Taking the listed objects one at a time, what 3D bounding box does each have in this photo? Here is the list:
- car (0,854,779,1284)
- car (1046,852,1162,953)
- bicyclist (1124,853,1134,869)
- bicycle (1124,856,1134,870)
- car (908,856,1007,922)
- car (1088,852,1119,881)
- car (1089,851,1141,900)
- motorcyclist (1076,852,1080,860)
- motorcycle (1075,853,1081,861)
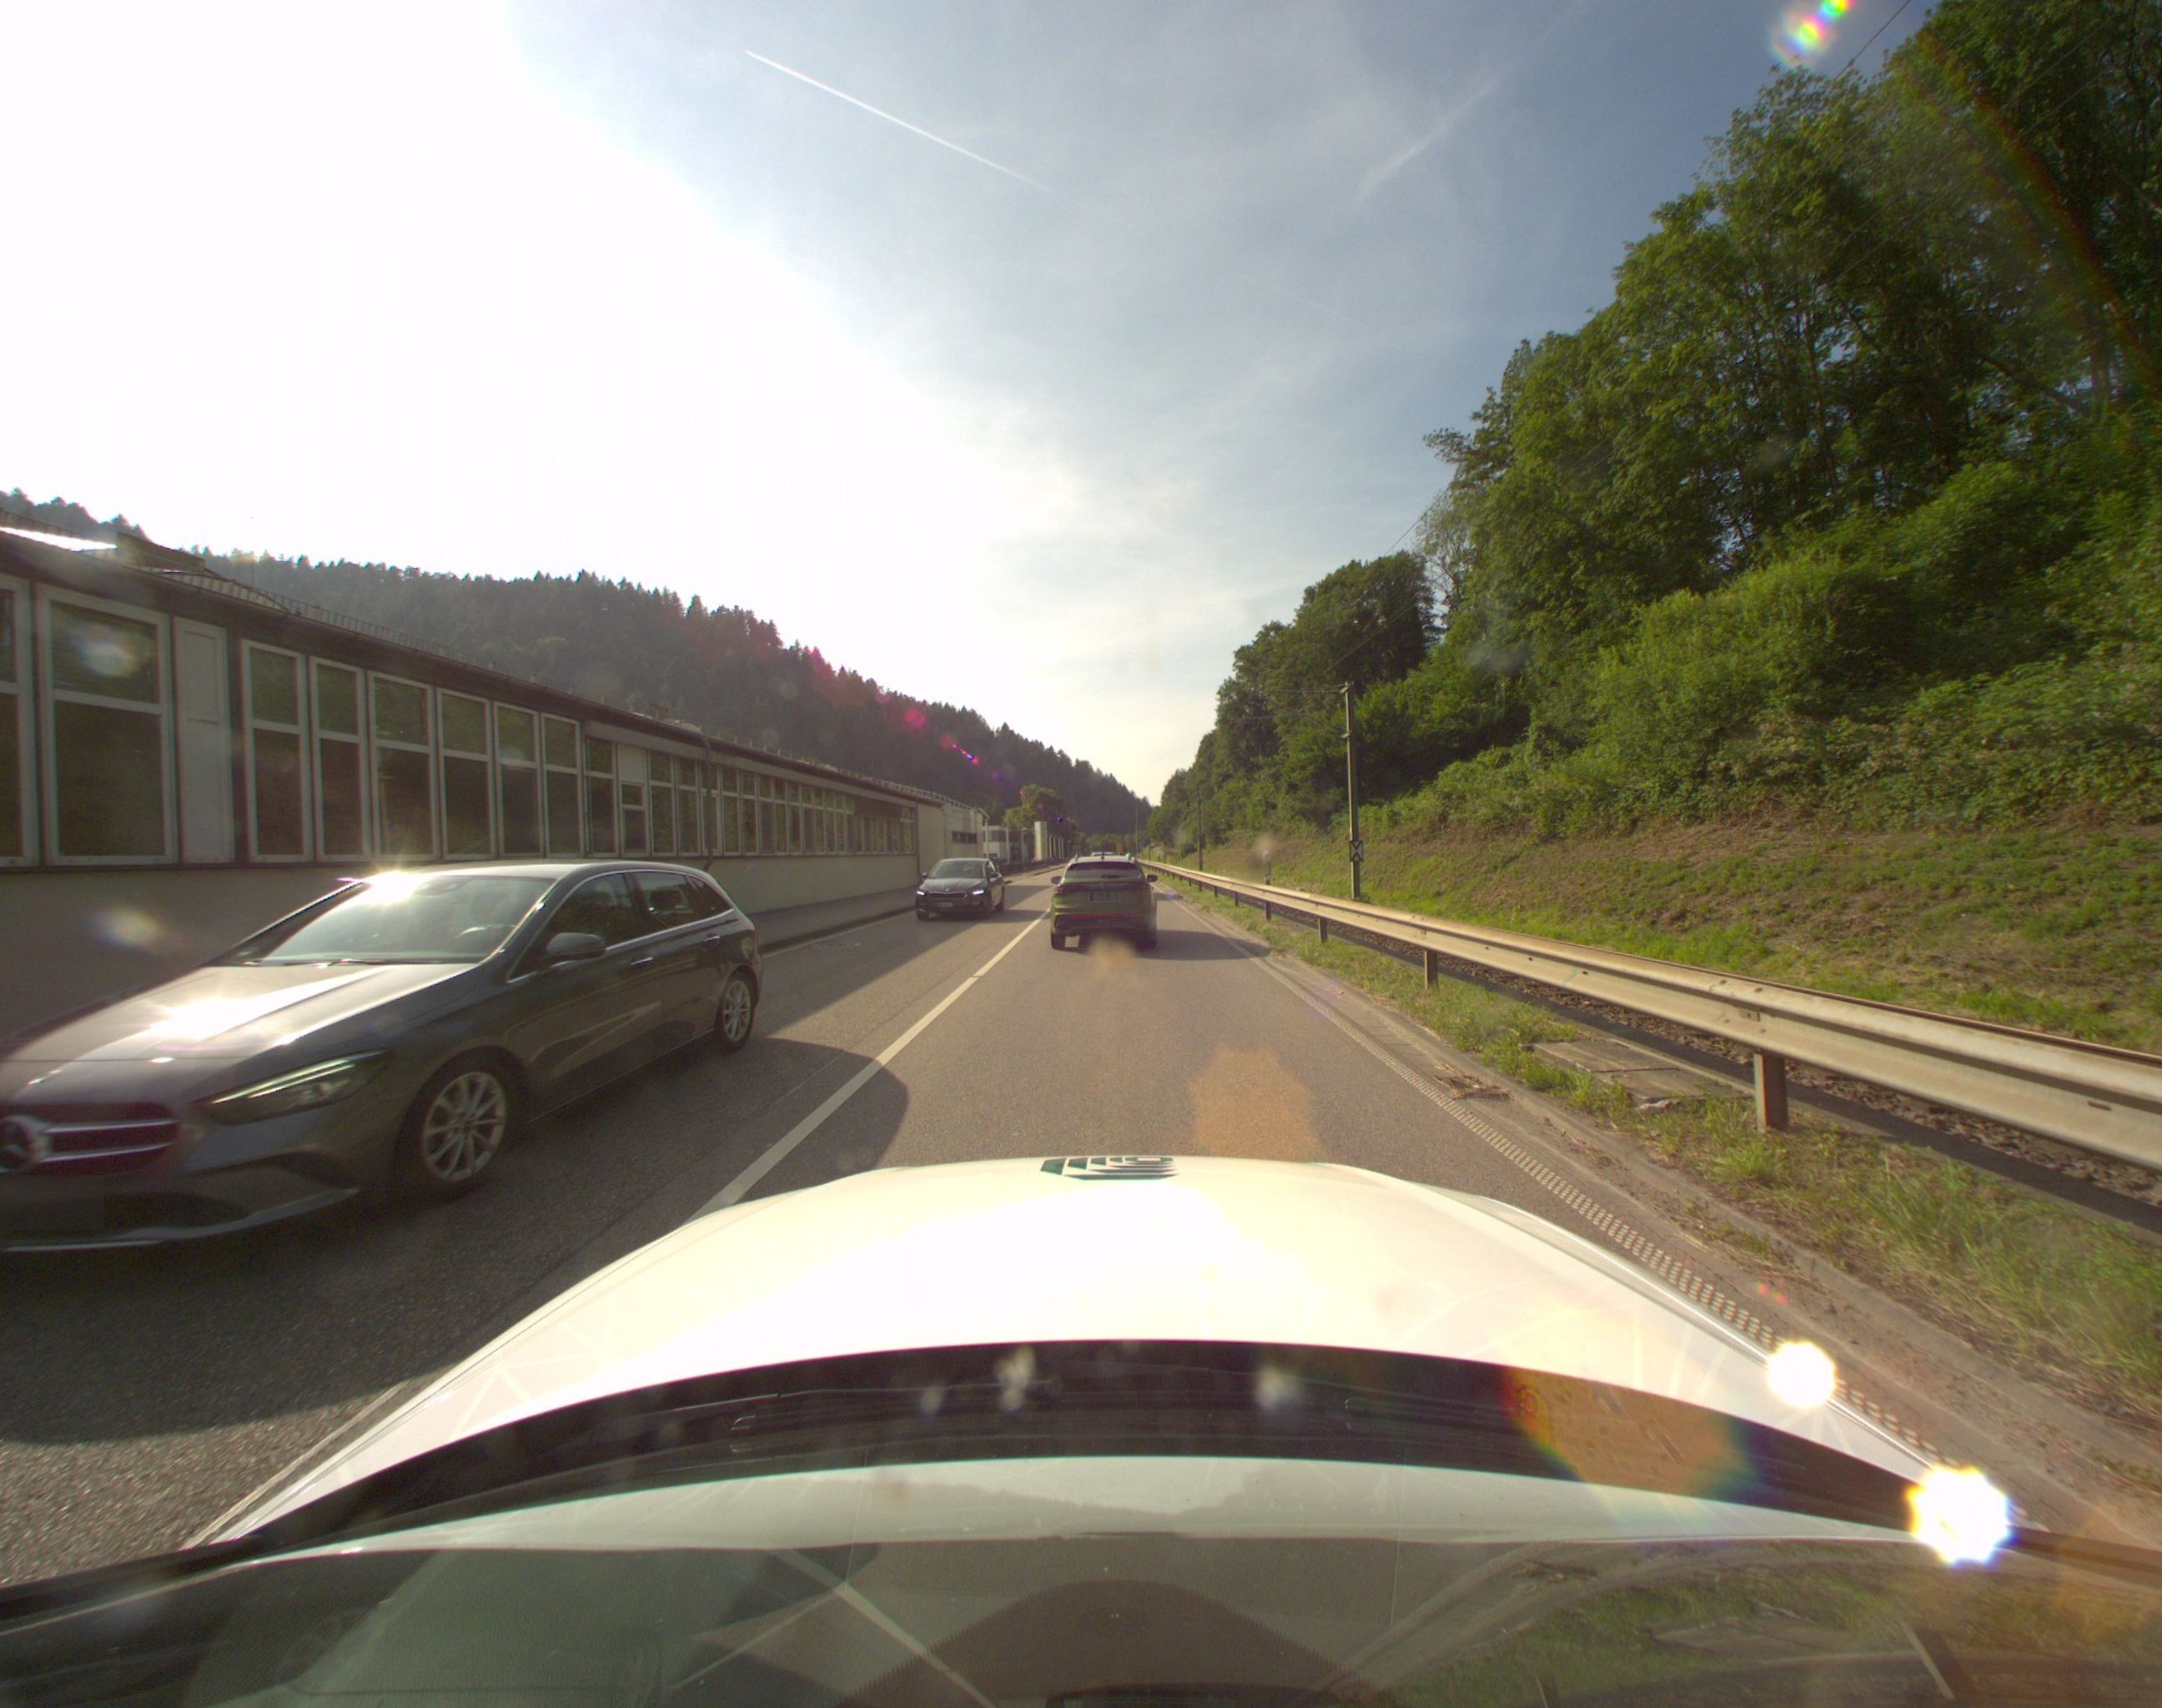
[{"bbox_3d":[-3.549,0.764,4.993,1.713,1.514,4.200,0,0,2],"label":"car"},{"bbox_3d":[0.391,0.738,14.384,1.733,1.508,4.001,-1,0,1],"label":"car"},{"bbox_3d":[4.323,0.623,73.325,0.779,1.412,0.675,-2,0,0],"label":"bicyclist"},{"bbox_3d":[4.333,0.793,73.394,0.809,1.250,2.122,-2,0,0],"label":"bicycle"},{"bbox_3d":[-3.024,0.815,20.710,1.767,1.490,4.053,0,0,2],"label":"car"},{"bbox_3d":[1.305,0.723,48.486,1.733,1.602,4.001,-1,0,1],"label":"car"},{"bbox_3d":[1.171,0.726,29.149,1.733,1.602,4.001,-1,0,1],"label":"car"},{"bbox_3d":[-0.421,0.303,114.209,0.583,1.124,0.637,-1,0,1],"label":"motorcyclist"},{"bbox_3d":[-0.370,0.455,114.629,0.738,1.068,2.493,-1,0,2],"label":"motorcycle"}]
